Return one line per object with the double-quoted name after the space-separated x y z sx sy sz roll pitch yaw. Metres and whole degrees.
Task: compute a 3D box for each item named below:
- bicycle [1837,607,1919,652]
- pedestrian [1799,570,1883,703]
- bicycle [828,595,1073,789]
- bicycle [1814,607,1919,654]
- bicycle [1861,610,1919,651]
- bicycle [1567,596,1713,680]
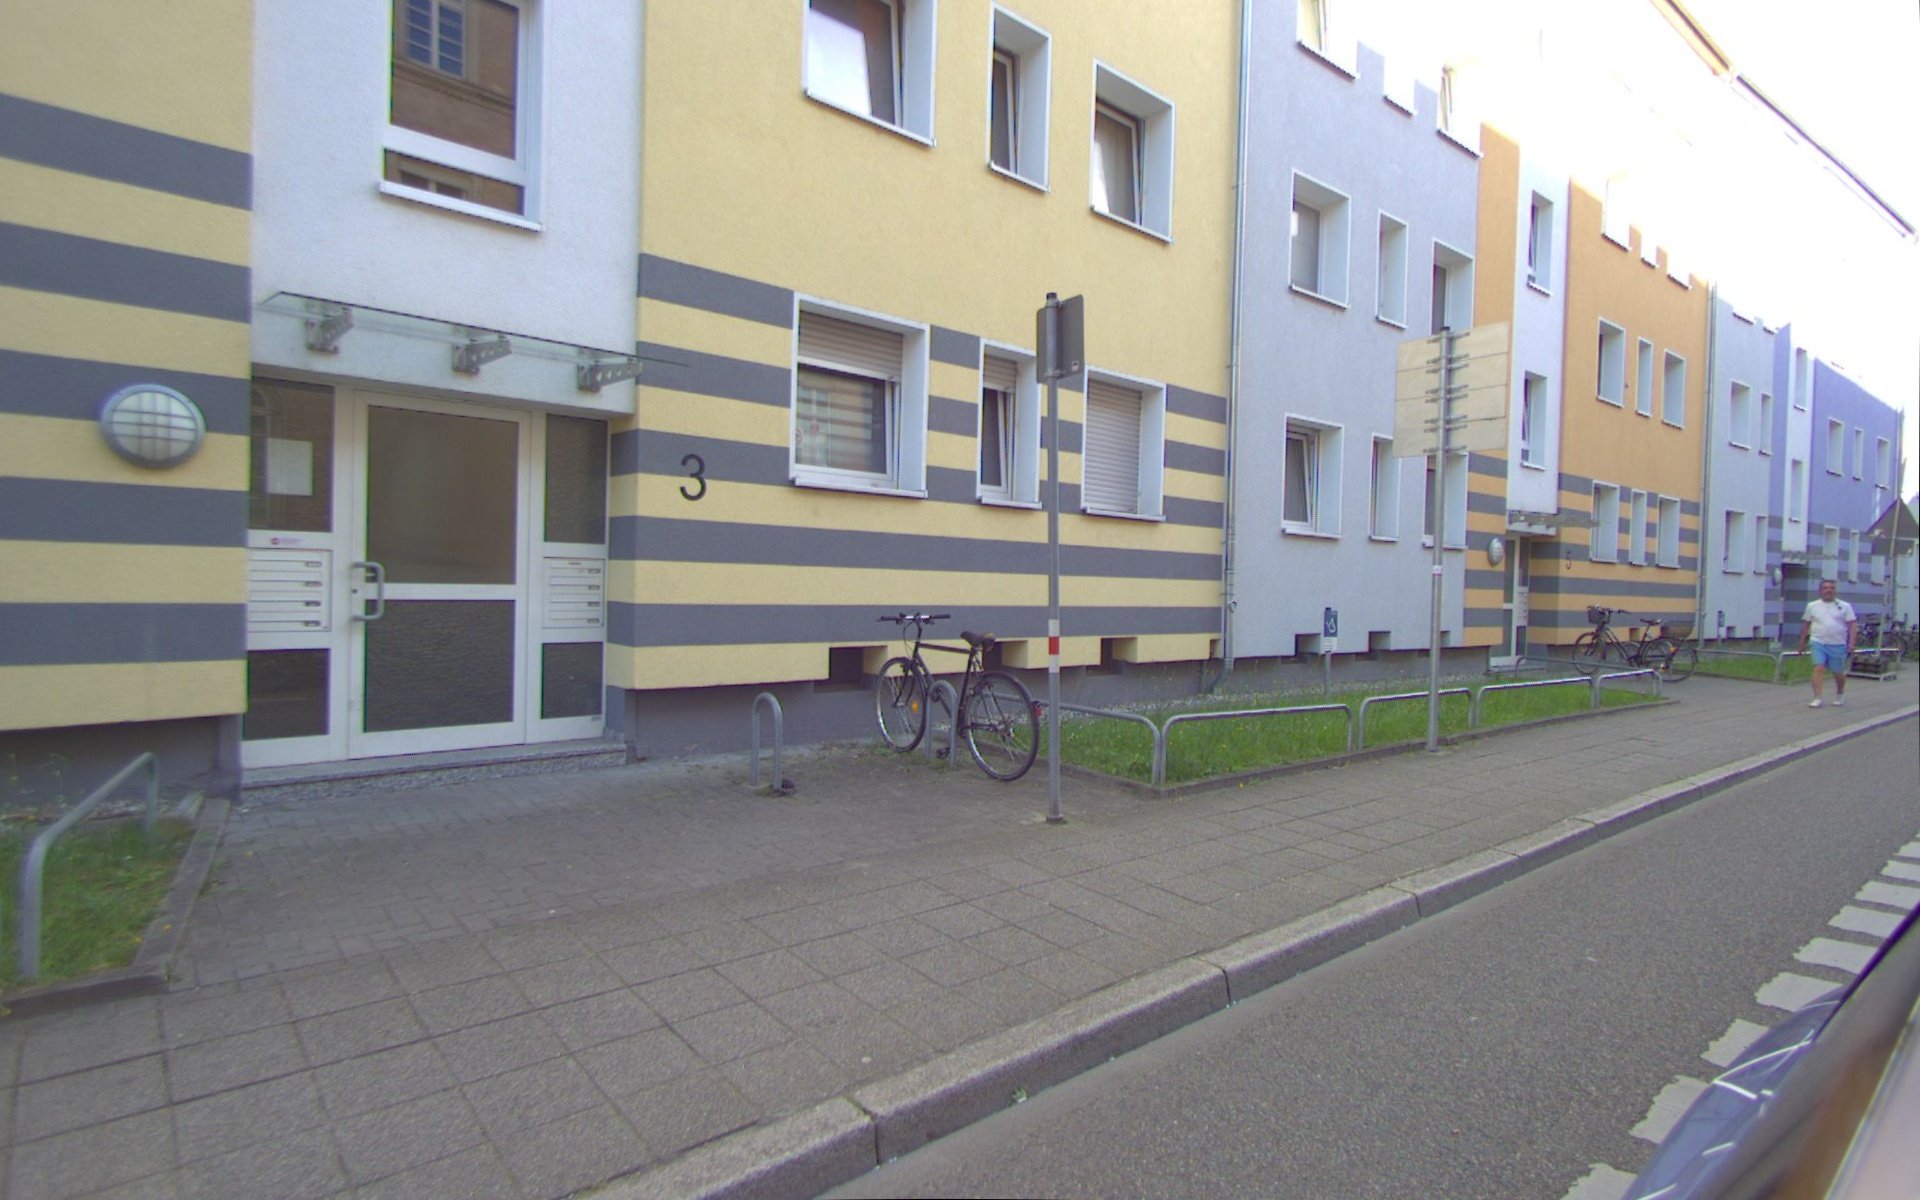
23.354 0.731 25.485 0.572 1.007 1.779 1 3 -33 "bicycle"
11.785 0.463 13.537 0.819 1.692 0.644 1 2 -39 "pedestrian"
-0.121 0.555 6.935 1.773 1.061 0.574 5 4 45 "bicycle"
22.190 0.728 24.816 0.572 1.007 1.779 1 3 -33 "bicycle"
24.056 0.787 25.593 0.572 0.950 1.779 1 3 -33 "bicycle"
10.692 0.565 15.957 0.574 1.138 1.775 0 4 -42 "bicycle"
